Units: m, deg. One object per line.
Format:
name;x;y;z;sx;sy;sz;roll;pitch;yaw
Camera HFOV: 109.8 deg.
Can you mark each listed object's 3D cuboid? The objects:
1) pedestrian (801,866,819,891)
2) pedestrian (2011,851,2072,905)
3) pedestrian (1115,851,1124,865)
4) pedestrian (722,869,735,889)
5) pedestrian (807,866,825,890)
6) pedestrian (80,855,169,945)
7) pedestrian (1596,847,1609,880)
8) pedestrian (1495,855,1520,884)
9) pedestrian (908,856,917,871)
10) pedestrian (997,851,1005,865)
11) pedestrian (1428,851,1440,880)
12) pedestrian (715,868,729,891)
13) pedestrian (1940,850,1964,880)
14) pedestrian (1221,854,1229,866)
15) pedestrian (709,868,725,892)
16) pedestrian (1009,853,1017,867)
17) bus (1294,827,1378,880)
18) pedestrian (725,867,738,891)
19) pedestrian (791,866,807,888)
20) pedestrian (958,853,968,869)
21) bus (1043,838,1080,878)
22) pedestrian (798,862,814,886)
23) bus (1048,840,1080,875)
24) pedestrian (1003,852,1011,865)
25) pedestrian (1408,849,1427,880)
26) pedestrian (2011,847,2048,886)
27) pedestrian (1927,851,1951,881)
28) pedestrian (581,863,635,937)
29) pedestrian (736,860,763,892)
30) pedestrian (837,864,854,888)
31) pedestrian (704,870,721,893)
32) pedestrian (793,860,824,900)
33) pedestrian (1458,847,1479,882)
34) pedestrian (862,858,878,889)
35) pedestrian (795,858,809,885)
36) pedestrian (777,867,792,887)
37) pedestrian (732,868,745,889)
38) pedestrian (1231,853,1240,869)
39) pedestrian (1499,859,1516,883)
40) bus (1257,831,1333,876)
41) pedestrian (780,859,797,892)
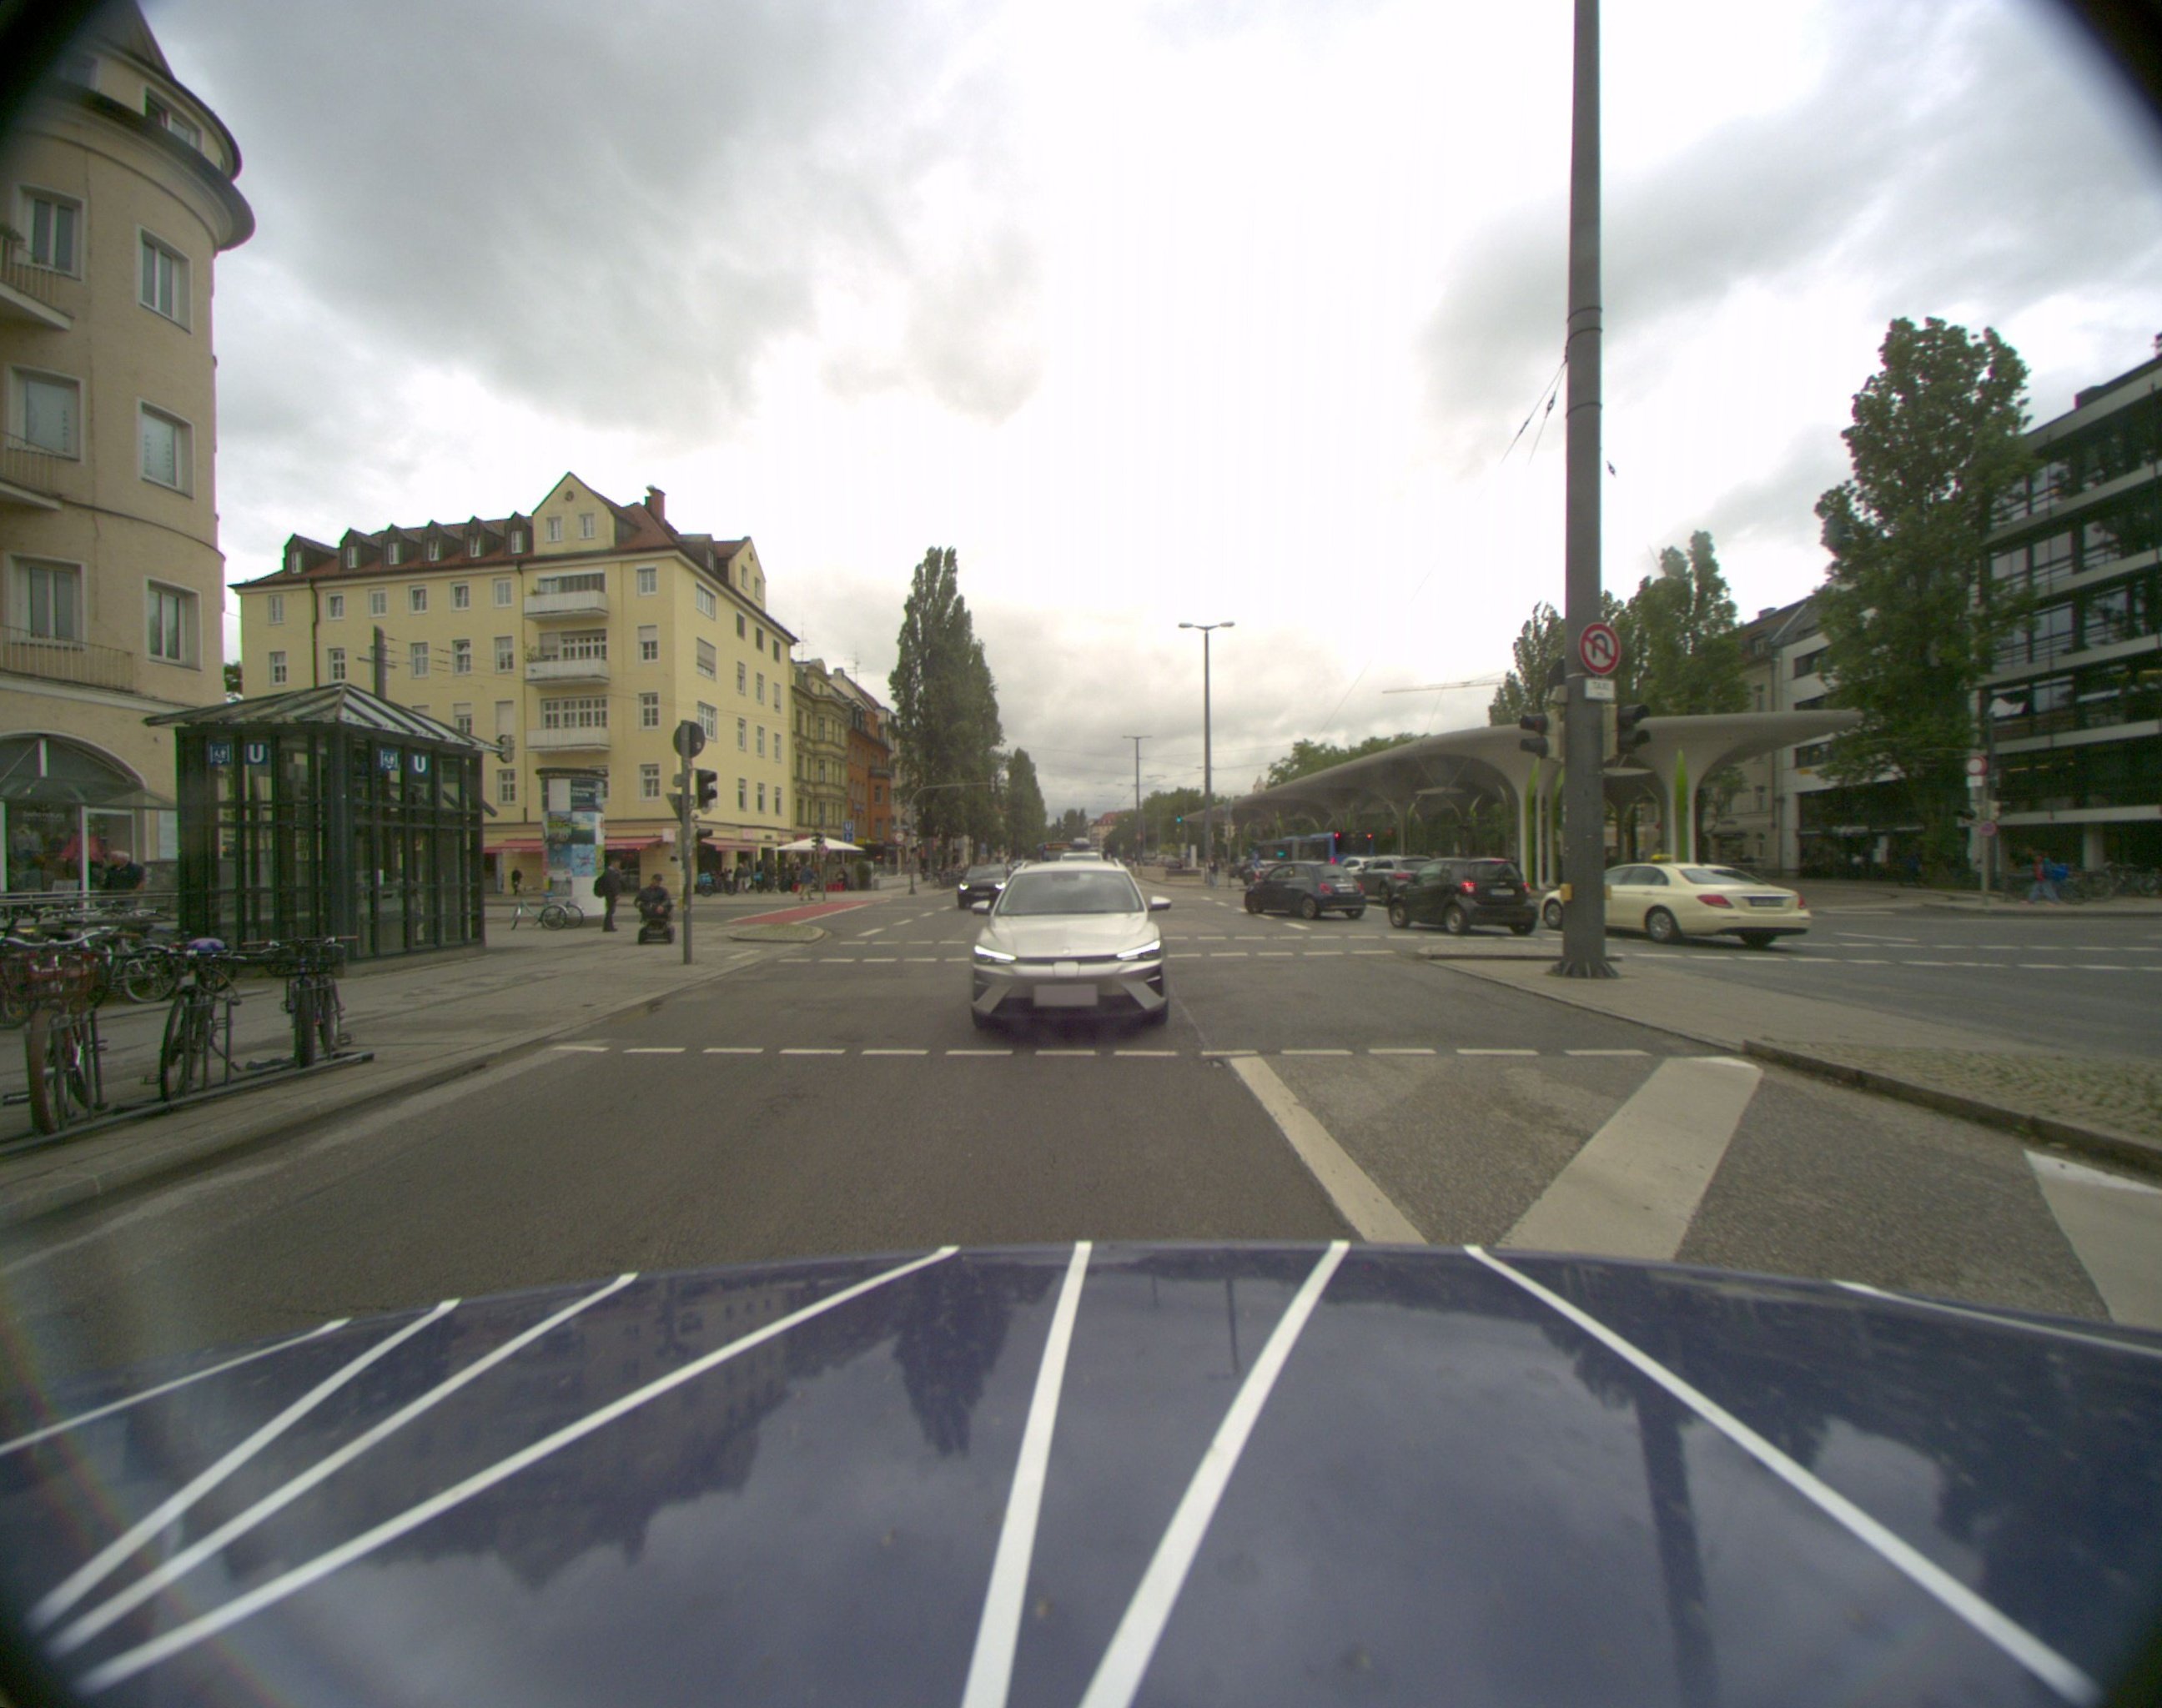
pedestrian;-14.955;1.349;42.008;0.679;1.304;0.796;-1;1;0
pedestrian;29.359;0.725;23.230;0.857;1.632;0.790;-1;0;4
pedestrian;5.061;0.482;99.740;0.862;1.801;0.895;-2;1;-31
pedestrian;-20.022;1.417;43.192;0.479;1.159;0.527;-1;0;-2
pedestrian;-14.950;1.350;42.897;0.679;1.304;0.796;-1;1;0
pedestrian;-18.491;0.885;14.709;0.746;1.694;0.683;0;-3;-2
pedestrian;30.496;0.574;44.419;0.484;1.921;0.422;-1;0;-29
pedestrian;21.711;0.798;38.641;1.022;1.444;0.856;0;0;35
pedestrian;-18.735;1.069;84.569;0.748;1.704;1.017;-1;0;0
pedestrian;-10.106;0.547;96.225;0.699;1.770;0.652;-2;0;33
pedestrian;19.400;0.648;41.736;0.519;1.579;0.481;-1;0;31
pedestrian;-19.981;1.420;42.271;0.479;1.291;0.527;-1;0;-2
pedestrian;46.393;0.588;40.462;0.593;1.583;0.674;0;0;18
pedestrian;19.278;0.772;101.973;0.739;1.619;0.741;-1;0;-21
pedestrian;-19.770;1.398;41.323;0.515;1.284;0.703;-1;0;-2
pedestrian;-8.800;0.725;98.187;0.881;1.791;0.757;-2;0;10
bus;15.753;-0.015;47.601;2.667;2.990;7.513;1;0;0
pedestrian;-19.450;1.387;42.332;0.479;1.291;0.527;-1;0;-2
pedestrian;-15.927;1.310;42.913;0.627;1.196;0.700;-1;1;0
pedestrian;-11.111;0.666;71.807;0.762;1.553;0.763;-1;0;1
bus;-1.503;0.325;62.792;2.637;2.956;9.466;-3;0;0
pedestrian;-16.468;1.174;45.487;0.677;1.414;0.616;-1;1;0
bus;-1.533;0.333;71.805;2.637;2.956;8.533;-3;0;0
pedestrian;-9.451;0.584;96.828;0.758;1.628;0.699;-1;-1;-43
pedestrian;18.310;0.563;41.361;0.746;1.665;0.633;0;1;42
pedestrian;45.022;0.589;36.083;0.720;1.790;0.828;-1;1;10
pedestrian;45.614;0.626;40.396;0.593;1.583;0.674;0;0;18
pedestrian;-11.146;1.061;17.925;0.834;1.681;0.821;0;0;37
pedestrian;-17.972;1.178;41.215;0.836;1.673;1.041;0;1;33
pedestrian;-13.243;1.222;42.764;0.679;1.303;0.796;-1;1;0
pedestrian;-19.625;1.461;40.472;0.515;1.175;0.703;-1;0;-2
pedestrian;-12.349;1.173;34.454;0.935;1.745;1.066;0;0;10
pedestrian;20.115;0.550;39.435;0.805;1.806;0.706;0;1;15
pedestrian;-11.946;1.101;43.009;0.884;1.733;0.857;-1;0;-16
pedestrian;-16.979;1.076;46.225;0.616;1.623;0.677;-1;1;0
pedestrian;-17.989;1.375;46.086;0.602;1.215;0.666;-1;0;0
pedestrian;-19.492;1.391;43.264;0.479;1.159;0.527;-1;0;-2
pedestrian;17.791;0.843;87.415;0.667;1.828;0.808;-1;1;-30
pedestrian;22.222;0.894;39.615;0.539;1.228;0.613;-1;1;0
bus;15.695;-0.003;56.623;2.667;2.990;10.515;1;0;0
pedestrian;-15.339;1.131;39.810;0.762;1.685;0.766;-1;1;-25
